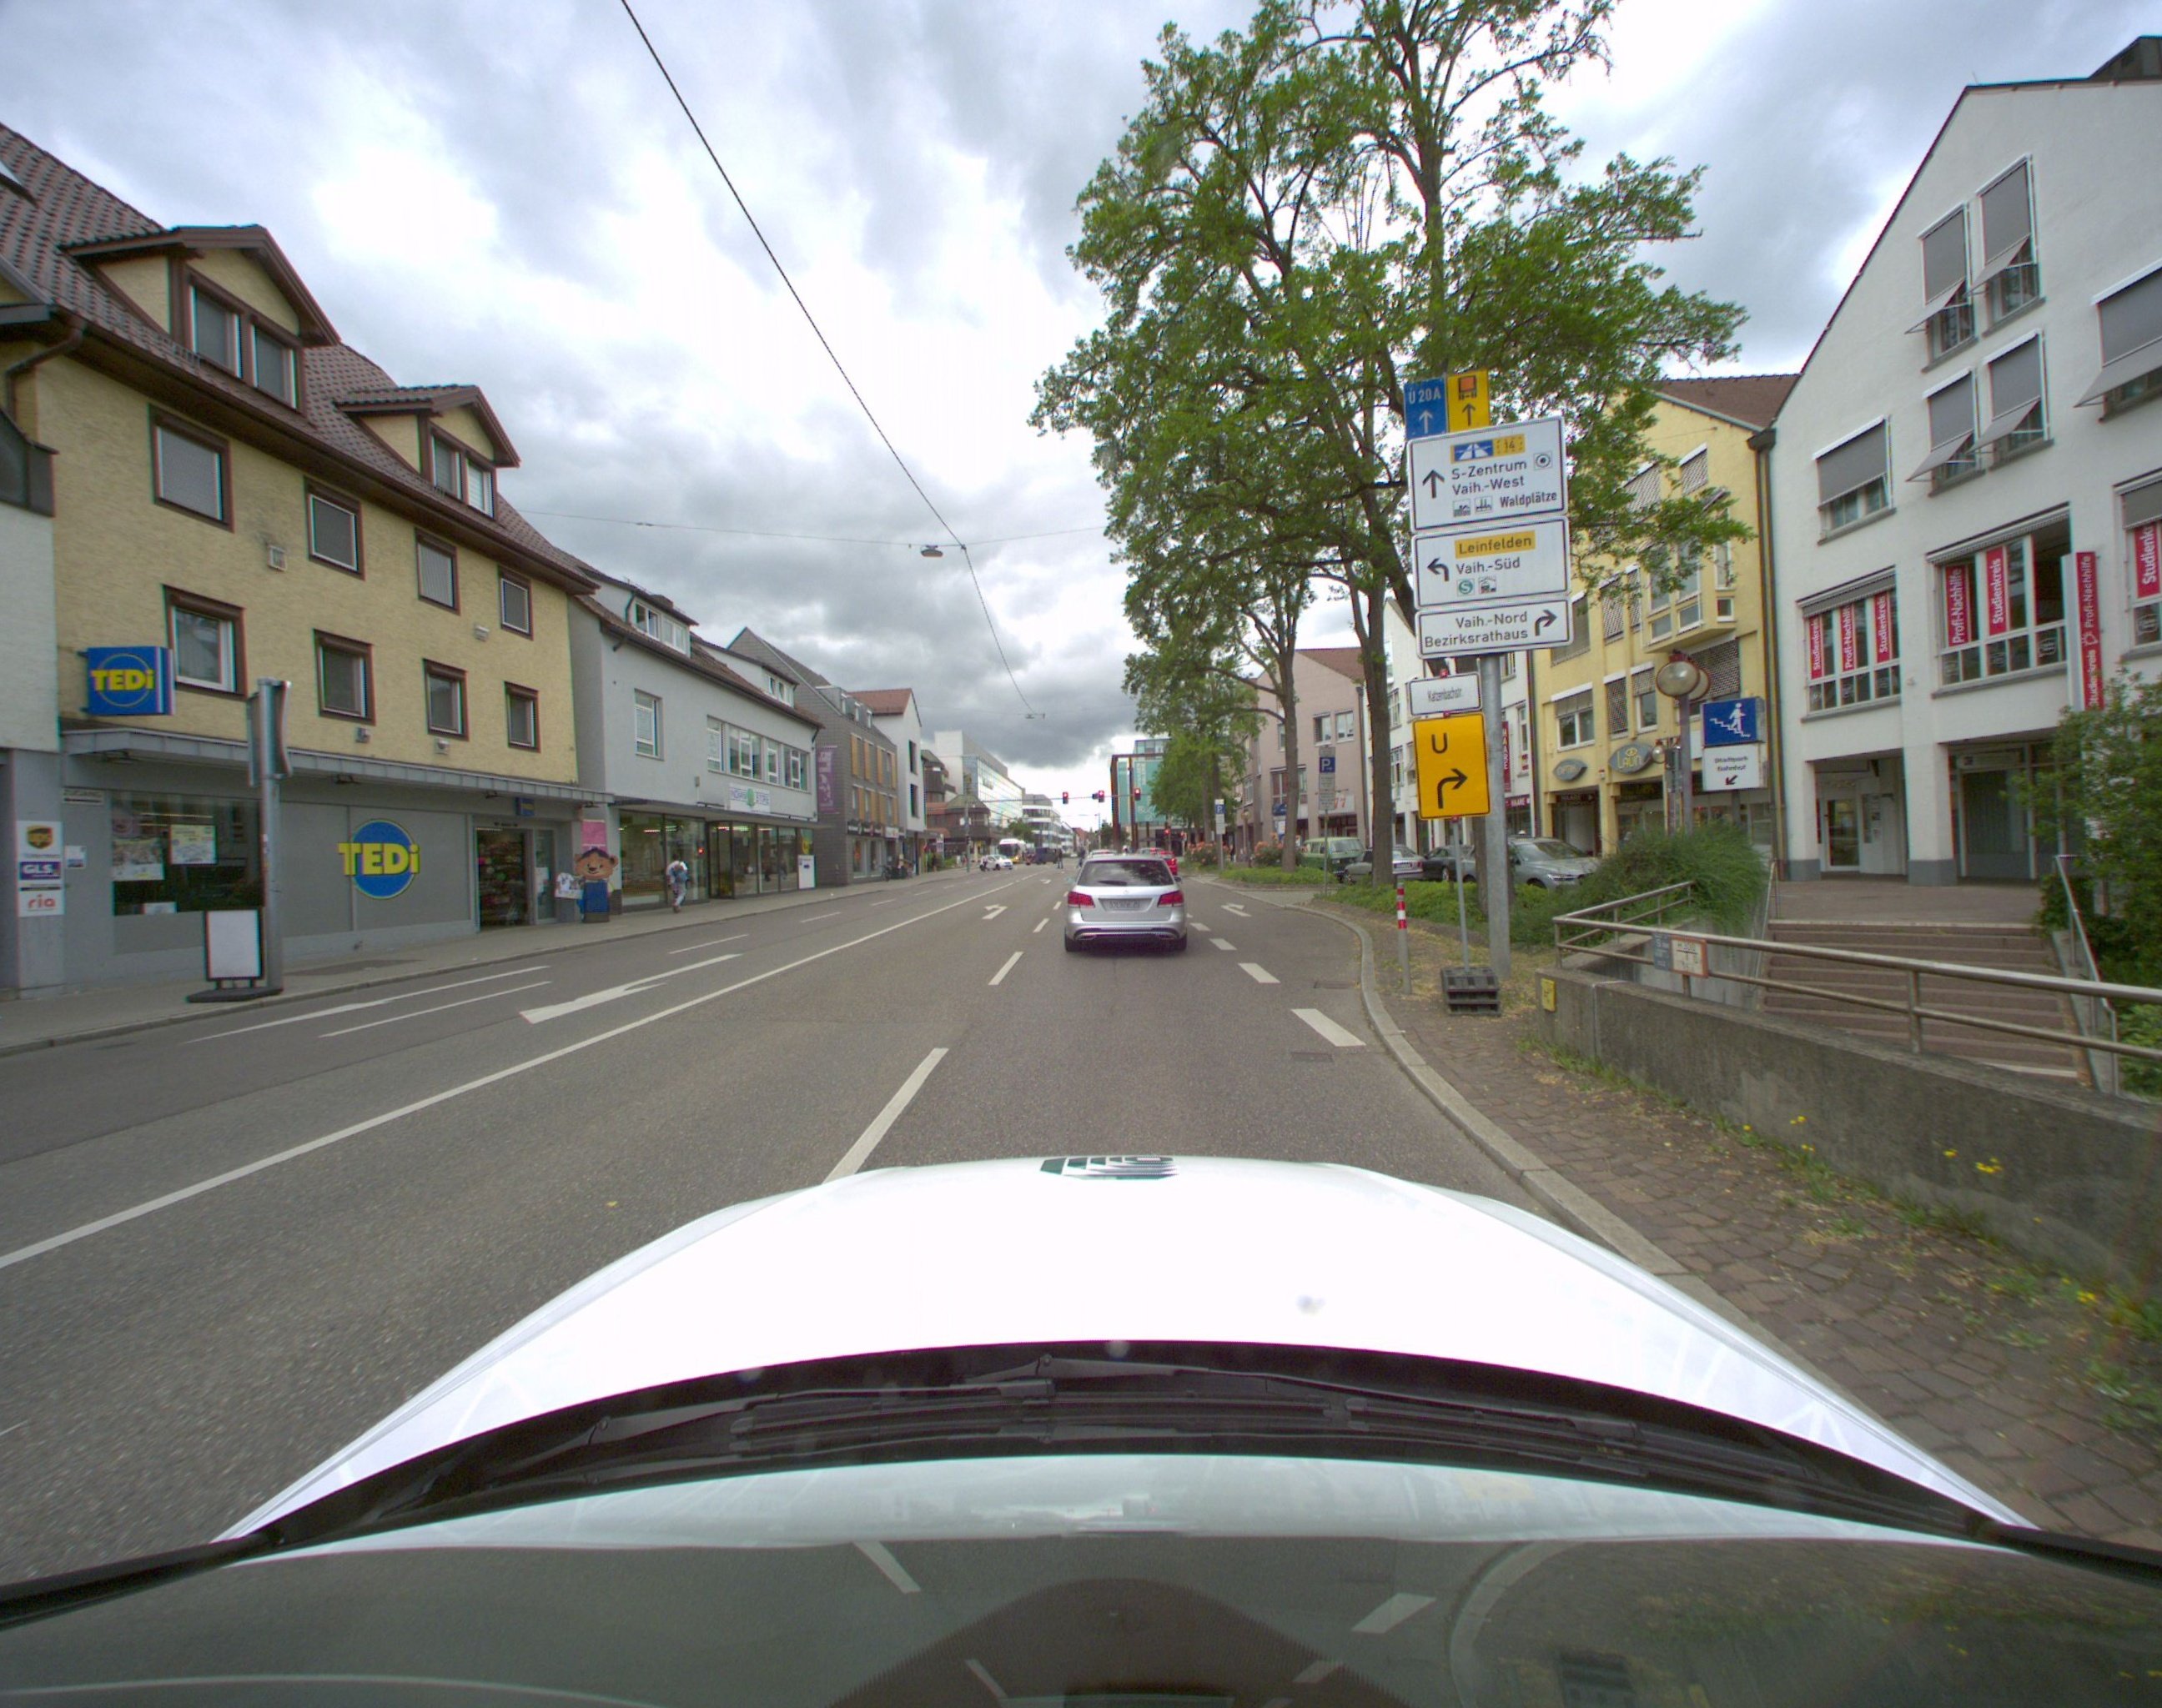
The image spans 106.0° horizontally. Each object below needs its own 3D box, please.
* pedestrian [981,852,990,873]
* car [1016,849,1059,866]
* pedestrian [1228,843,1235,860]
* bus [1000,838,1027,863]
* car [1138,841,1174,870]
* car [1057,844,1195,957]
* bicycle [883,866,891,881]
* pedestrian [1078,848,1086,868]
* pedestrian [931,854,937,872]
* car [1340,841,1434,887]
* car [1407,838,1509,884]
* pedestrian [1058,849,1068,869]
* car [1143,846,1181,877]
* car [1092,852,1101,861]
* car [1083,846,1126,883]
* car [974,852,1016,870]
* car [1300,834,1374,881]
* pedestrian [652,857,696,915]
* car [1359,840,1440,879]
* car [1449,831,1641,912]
[{"bbox_3d":[-7.768,0.694,66.129,0.614,1.634,0.585,1,0,-17],"label":"pedestrian"},{"bbox_3d":[-5.089,0.386,95.687,1.975,1.823,4.955,-2,0,42],"label":"car"},{"bbox_3d":[14.393,-0.205,78.061,0.608,1.634,0.590,1,0,14],"label":"pedestrian"},{"bbox_3d":[-8.933,-0.502,107.999,2.765,3.165,5.935,-2,0,2],"label":"bus"},{"bbox_3d":[4.753,0.071,52.081,1.986,1.684,4.002,-2,0,2],"label":"car"},{"bbox_3d":[0.616,0.637,13.246,1.868,1.506,3.999,-2,0,-1],"label":"car"},{"bbox_3d":[-11.674,1.152,49.002,0.273,0.891,1.225,-2,0,-8],"label":"bicycle"},{"bbox_3d":[0.068,0.337,67.360,0.611,1.634,0.587,1,0,-2],"label":"pedestrian"},{"bbox_3d":[-13.462,0.810,74.571,0.586,1.670,0.639,1,1,-12],"label":"pedestrian"},{"bbox_3d":[11.172,0.346,30.054,1.861,1.527,3.998,-2,0,-1],"label":"car"},{"bbox_3d":[13.876,0.222,30.267,1.861,1.527,3.998,-2,0,-1],"label":"car"},{"bbox_3d":[-1.533,0.437,68.511,0.831,1.634,0.587,1,0,-3],"label":"pedestrian"},{"bbox_3d":[4.385,0.396,44.651,1.748,1.521,4.001,-3,0,1],"label":"car"},{"bbox_3d":[3.741,0.651,192.472,1.986,2.013,4.001,-2,0,1],"label":"car"},{"bbox_3d":[1.187,0.499,40.449,1.986,1.684,4.002,-2,0,2],"label":"car"},{"bbox_3d":[-8.037,0.661,76.170,3.949,1.530,1.677,-2,0,43],"label":"car"},{"bbox_3d":[11.075,0.123,35.477,1.861,1.864,3.998,-2,0,-1],"label":"car"},{"bbox_3d":[-11.807,0.906,23.644,0.815,1.634,0.979,0,0,-4],"label":"pedestrian"},{"bbox_3d":[13.750,0.217,35.440,1.861,1.527,3.998,-2,0,-1],"label":"car"},{"bbox_3d":[10.838,0.356,19.474,1.875,1.638,4.496,-2,0,-2],"label":"car"}]
